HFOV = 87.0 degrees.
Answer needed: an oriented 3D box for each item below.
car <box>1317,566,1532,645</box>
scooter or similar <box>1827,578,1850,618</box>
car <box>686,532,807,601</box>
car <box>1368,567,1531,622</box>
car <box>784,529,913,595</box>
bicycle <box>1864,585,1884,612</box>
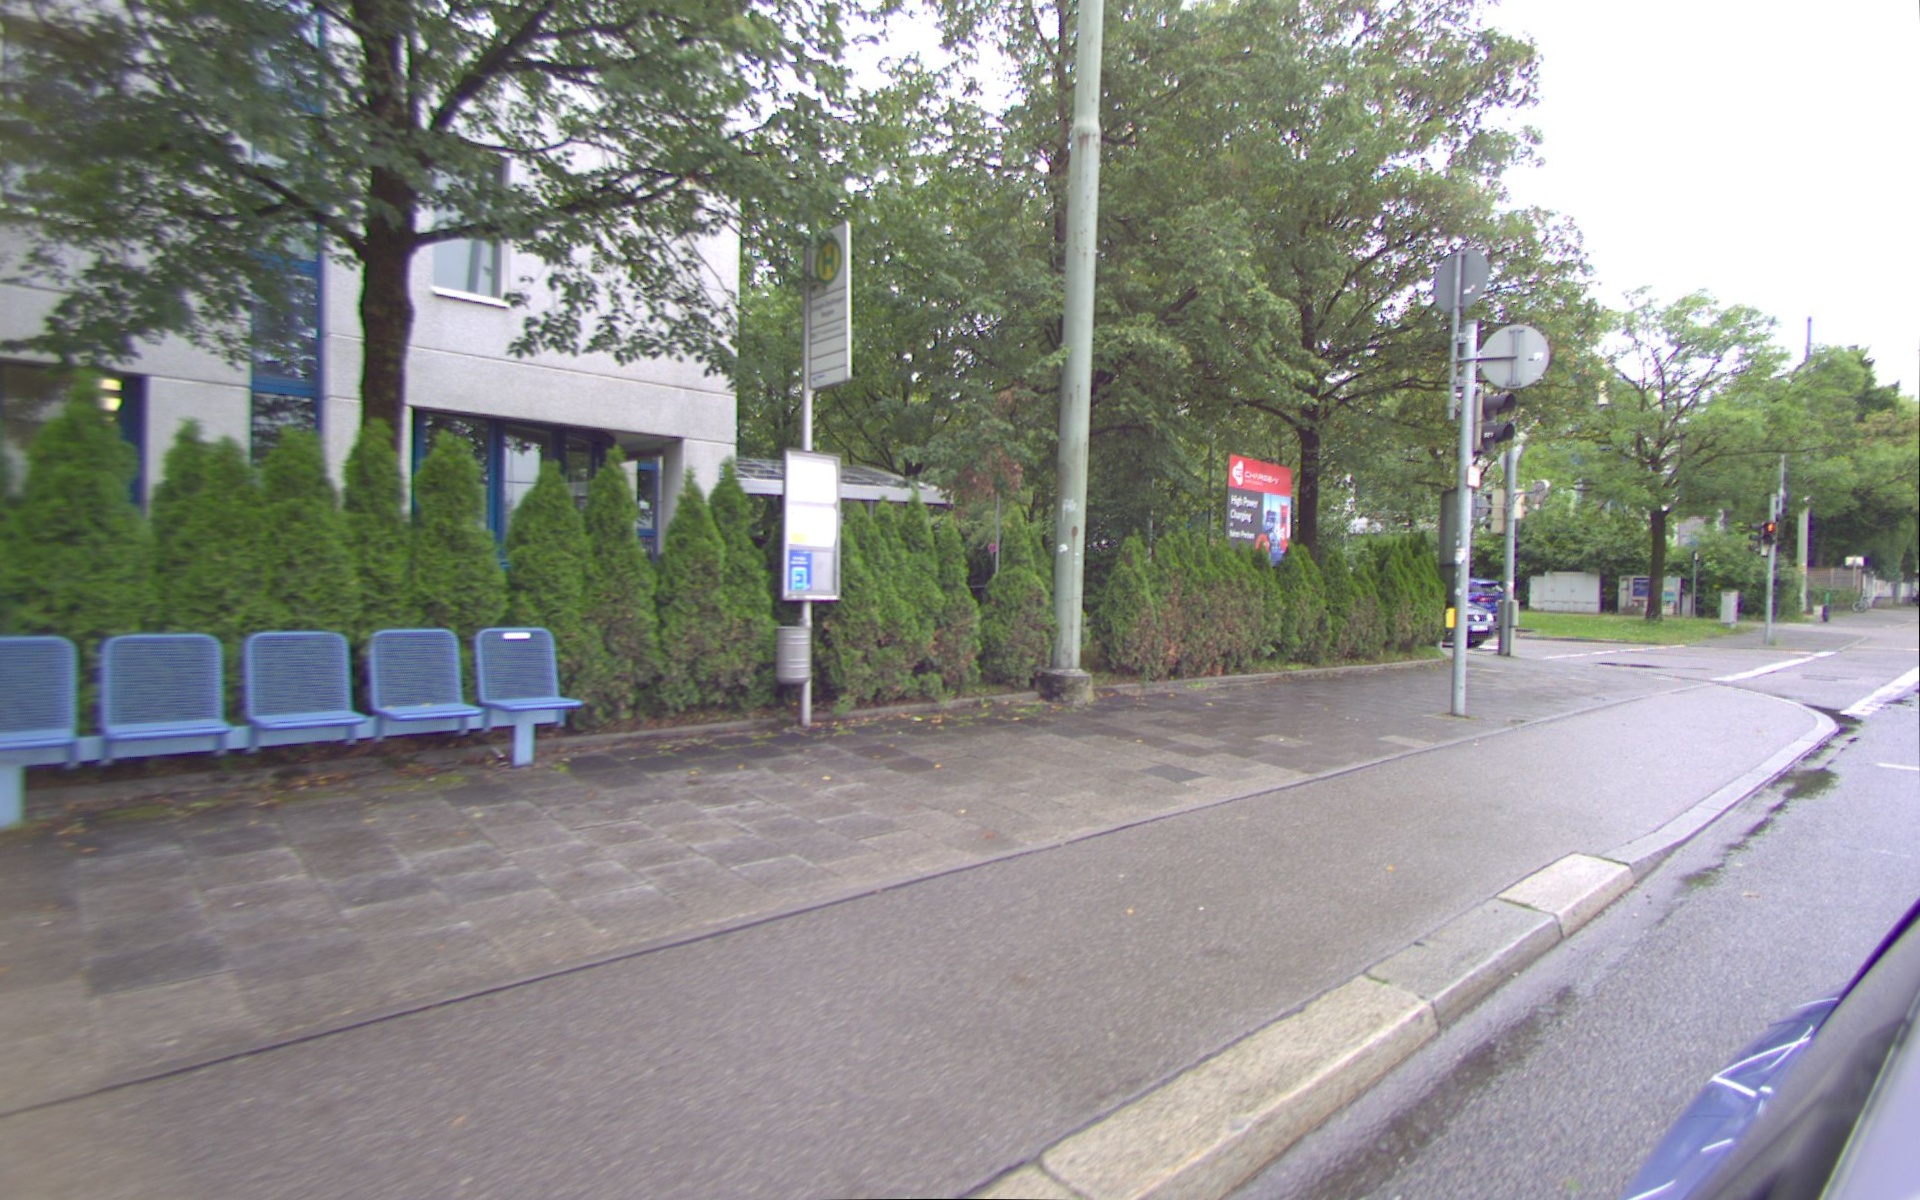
[{"bbox_3d":[11.180,0.078,24.812,1.958,1.744,4.801,1,1,-20],"label":"car"},{"bbox_3d":[32.840,-0.077,37.839,0.368,1.441,1.390,3,3,32],"label":"scooter or similar"},{"bbox_3d":[-5.096,-0.834,23.769,1.831,1.436,4.186,1,3,-25],"label":"car"},{"bbox_3d":[15.499,-0.241,32.267,1.962,1.594,4.285,-2,3,-33],"label":"car"},{"bbox_3d":[-2.823,-0.954,24.752,1.831,1.436,4.186,1,3,-25],"label":"car"},{"bbox_3d":[46.342,-0.087,51.300,0.582,1.311,2.414,4,3,45],"label":"bicycle"}]
